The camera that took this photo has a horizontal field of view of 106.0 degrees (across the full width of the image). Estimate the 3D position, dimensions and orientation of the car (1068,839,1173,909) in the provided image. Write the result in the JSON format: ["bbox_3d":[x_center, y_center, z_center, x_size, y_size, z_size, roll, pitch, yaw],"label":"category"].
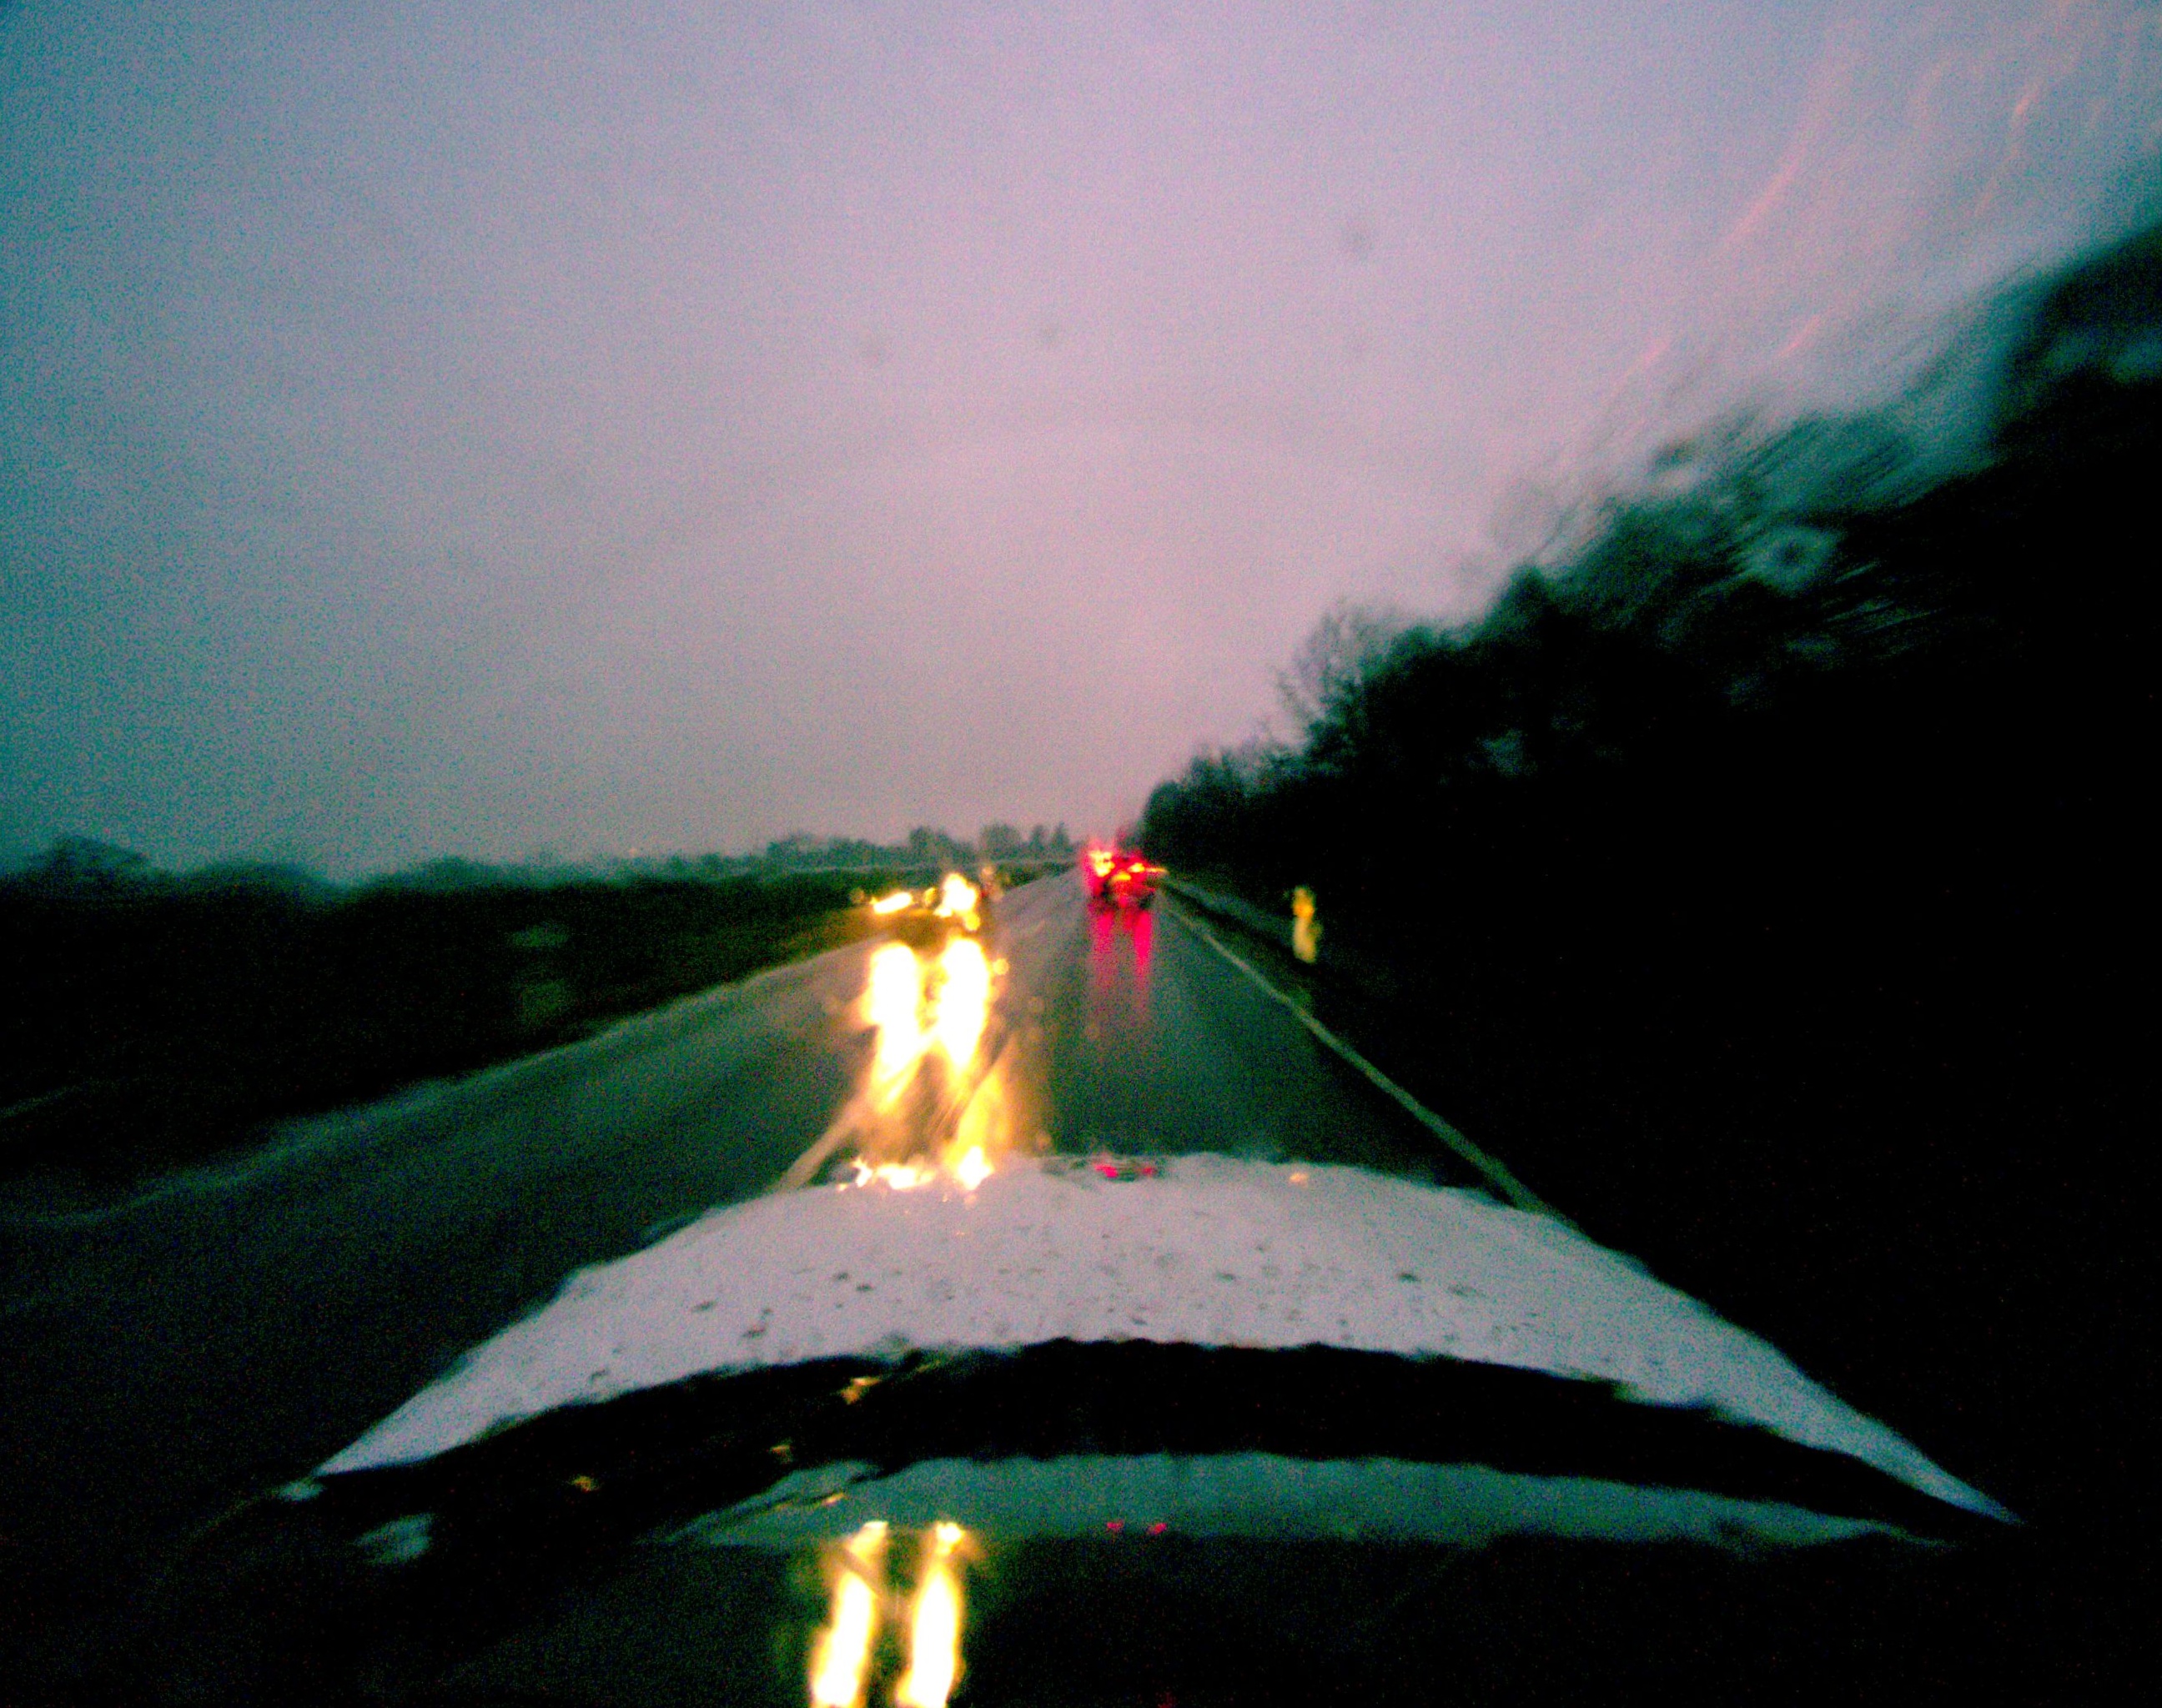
[{"bbox_3d":[1.349,0.615,28.640,3.152,2.035,6.855,-2,0,2],"label":"car"}]

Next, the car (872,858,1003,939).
[{"bbox_3d":[-3.111,0.918,18.679,1.986,1.463,4.353,-6,-1,2],"label":"car"}]

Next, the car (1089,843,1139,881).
[{"bbox_3d":[2.009,0.455,49.965,2.745,2.035,6.594,-2,0,2],"label":"car"}]
